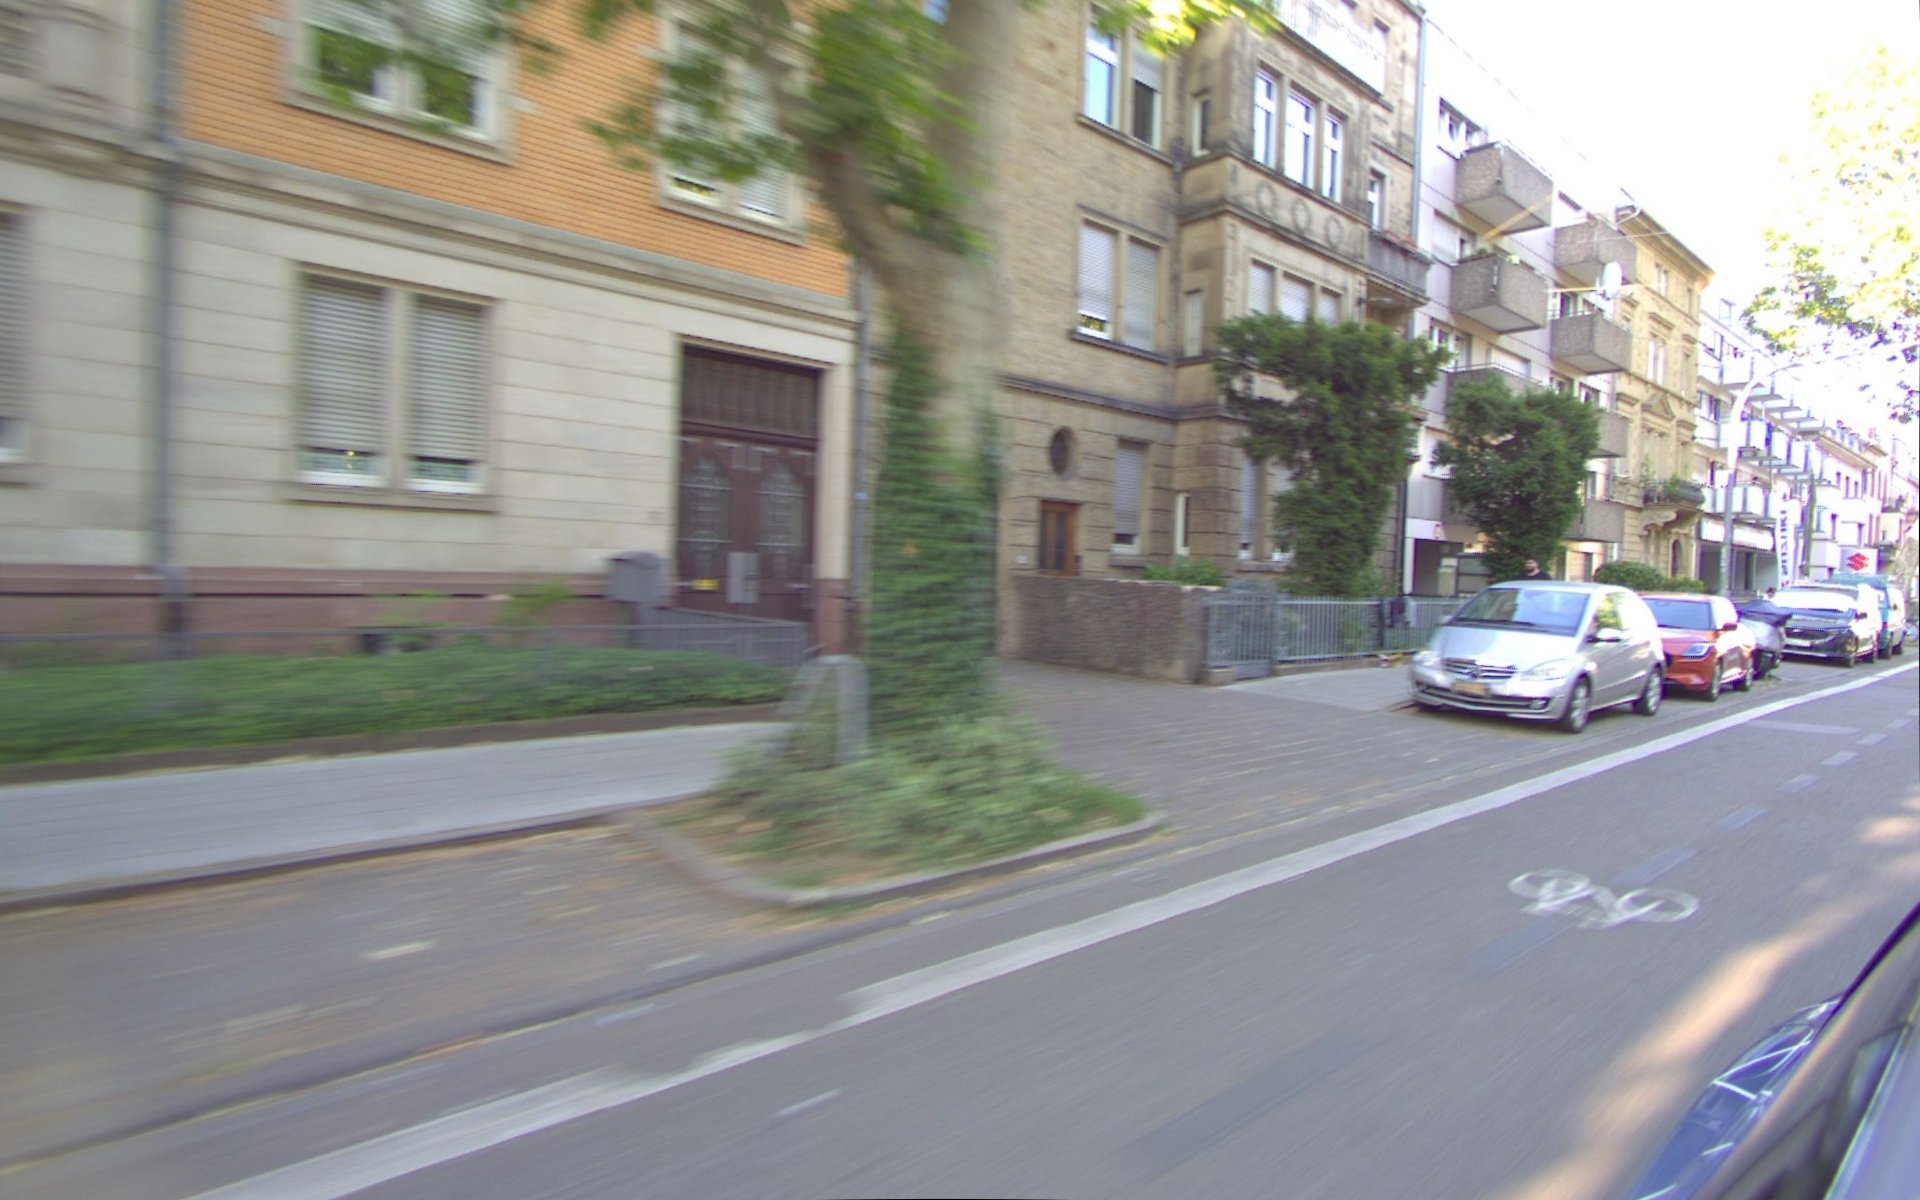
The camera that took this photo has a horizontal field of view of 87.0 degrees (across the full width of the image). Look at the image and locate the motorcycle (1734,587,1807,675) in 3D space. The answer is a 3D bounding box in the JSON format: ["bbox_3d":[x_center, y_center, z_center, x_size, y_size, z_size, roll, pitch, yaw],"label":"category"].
[{"bbox_3d":[14.474,0.509,18.123,0.822,1.415,2.348,5,3,36],"label":"motorcycle"}]

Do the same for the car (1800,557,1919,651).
[{"bbox_3d":[24.532,0.021,27.401,5.146,2.284,1.997,-1,3,-42],"label":"car"}]

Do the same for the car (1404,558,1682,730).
[{"bbox_3d":[7.050,0.380,12.097,3.786,1.711,1.747,-1,3,-42],"label":"car"}]

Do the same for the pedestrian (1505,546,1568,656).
[{"bbox_3d":[10.659,0.006,18.714,0.800,1.961,0.712,0,2,-40],"label":"pedestrian"}]

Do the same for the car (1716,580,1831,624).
[{"bbox_3d":[32.591,0.046,40.601,1.418,1.565,3.423,-1,3,-43],"label":"car"}]

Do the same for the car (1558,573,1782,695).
[{"bbox_3d":[11.017,0.401,15.612,3.912,1.579,1.997,-1,3,-42],"label":"car"}]

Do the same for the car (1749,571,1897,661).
[{"bbox_3d":[20.130,0.269,23.545,4.676,1.852,1.997,-1,3,-42],"label":"car"}]

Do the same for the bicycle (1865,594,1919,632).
[{"bbox_3d":[30.875,0.423,33.088,0.342,1.157,1.848,-1,3,-41],"label":"bicycle"}]
